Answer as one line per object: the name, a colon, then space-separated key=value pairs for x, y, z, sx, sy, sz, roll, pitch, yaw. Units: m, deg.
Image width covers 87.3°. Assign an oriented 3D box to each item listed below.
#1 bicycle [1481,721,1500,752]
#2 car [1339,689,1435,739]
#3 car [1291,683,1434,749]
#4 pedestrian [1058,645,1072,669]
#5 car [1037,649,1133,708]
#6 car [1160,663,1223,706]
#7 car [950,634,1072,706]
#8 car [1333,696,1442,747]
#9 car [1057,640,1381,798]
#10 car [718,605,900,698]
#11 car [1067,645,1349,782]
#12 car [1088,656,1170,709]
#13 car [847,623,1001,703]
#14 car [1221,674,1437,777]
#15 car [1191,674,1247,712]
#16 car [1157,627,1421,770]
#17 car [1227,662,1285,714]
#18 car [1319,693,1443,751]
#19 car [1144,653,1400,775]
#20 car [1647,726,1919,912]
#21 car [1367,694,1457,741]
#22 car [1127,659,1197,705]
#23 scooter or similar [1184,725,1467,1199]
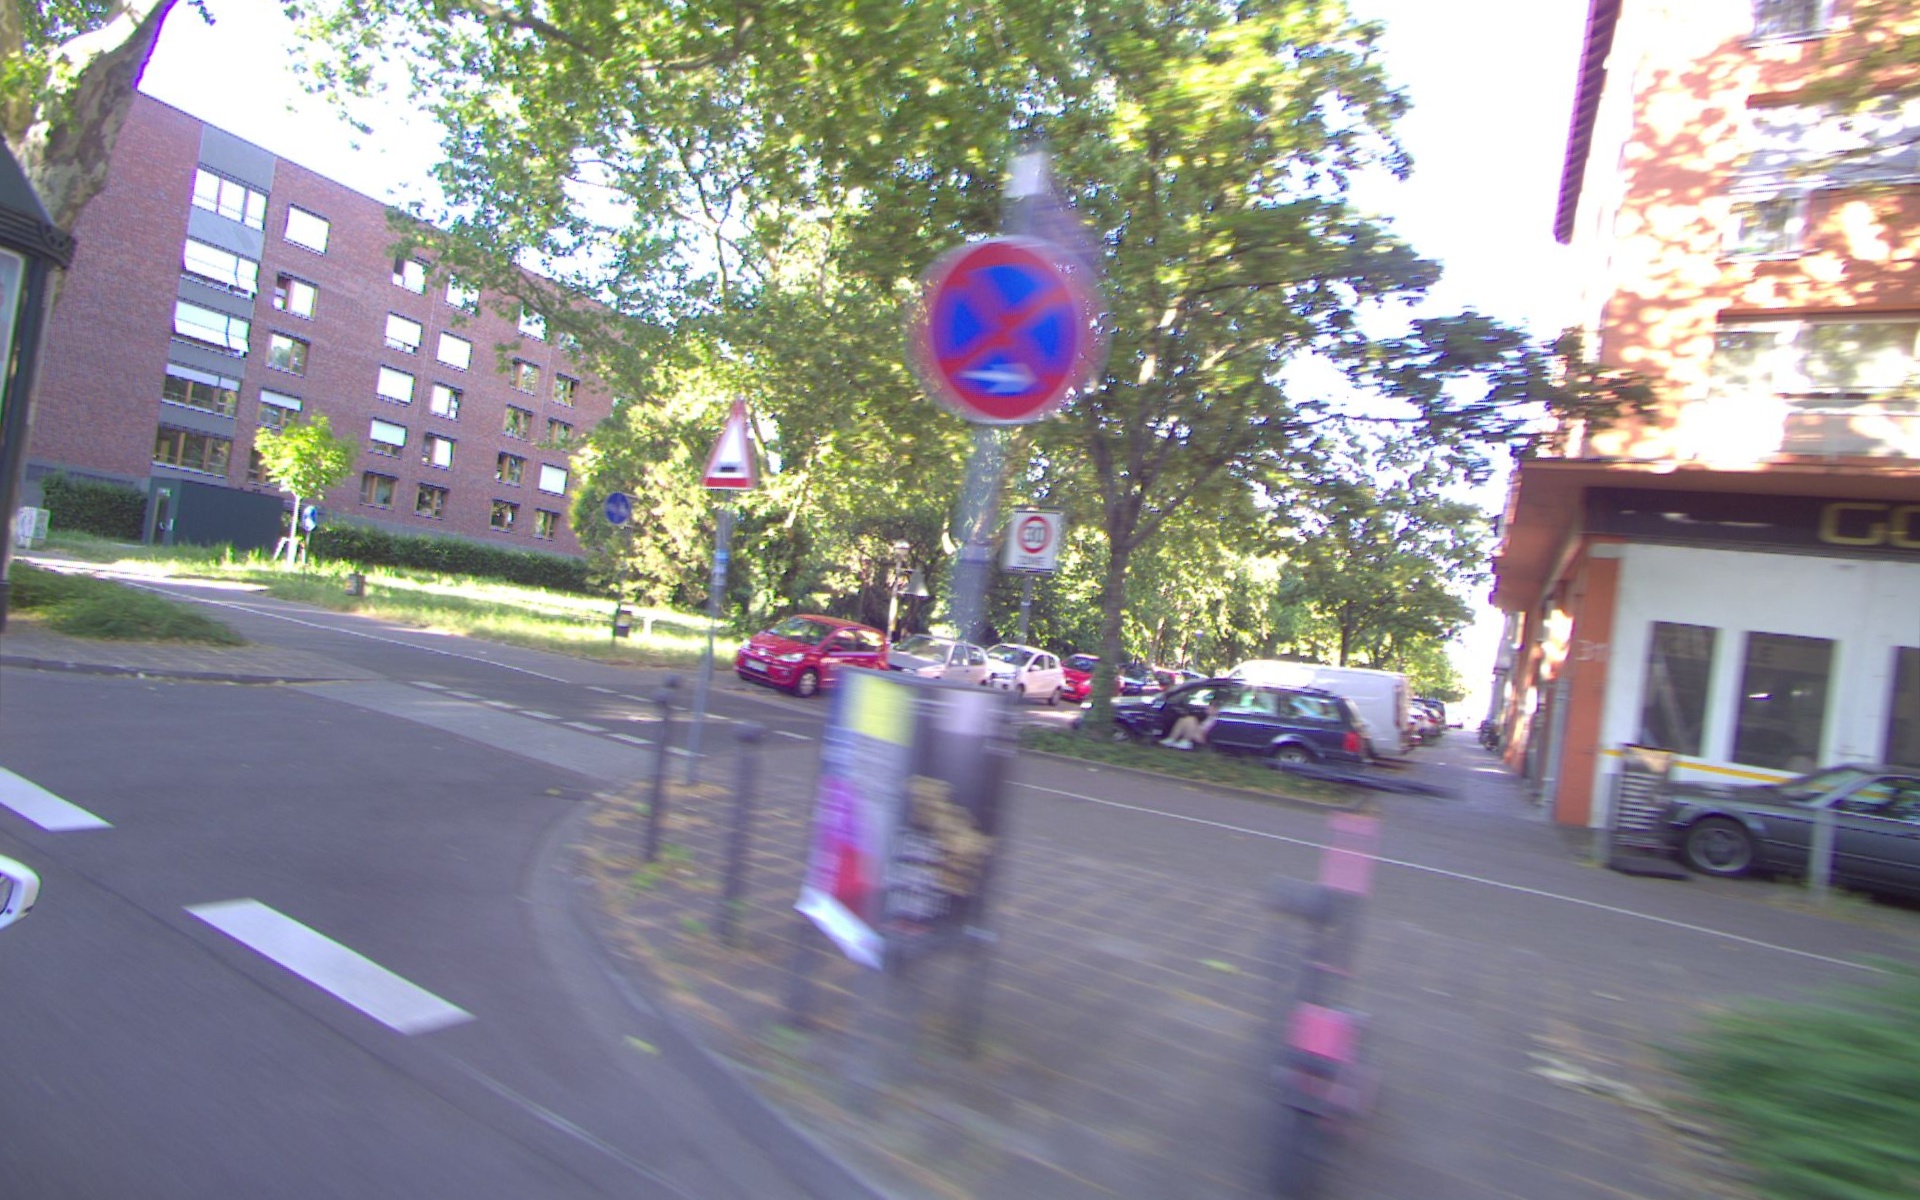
bicycle: x=21.099 y=5.428 z=40.007 sx=0.492 sy=1.120 sz=1.798 roll=7 pitch=-1 yaw=30
car: x=23.084 y=6.115 z=54.387 sx=4.497 sy=1.929 sz=1.794 roll=7 pitch=-1 yaw=27
car: x=14.512 y=4.135 z=36.314 sx=4.497 sy=1.593 sz=1.794 roll=7 pitch=-1 yaw=27
pedestrian: x=7.749 y=4.187 z=74.156 sx=0.639 sy=1.681 sz=0.649 roll=7 pitch=-1 yaw=31
car: x=4.136 y=2.594 z=32.772 sx=1.654 sy=1.599 sz=3.928 roll=7 pitch=-2 yaw=28
car: x=10.537 y=3.859 z=45.659 sx=1.654 sy=1.599 sz=3.928 roll=7 pitch=-2 yaw=28
car: x=1.474 y=1.960 z=27.472 sx=1.654 sy=1.599 sz=3.928 roll=7 pitch=-2 yaw=28
car: x=20.019 y=5.632 z=47.141 sx=4.497 sy=1.593 sz=1.794 roll=7 pitch=-1 yaw=27
car: x=4.010 y=1.765 z=15.690 sx=4.496 sy=1.593 sz=1.795 roll=8 pitch=-1 yaw=25
car: x=-2.909 y=1.075 z=20.050 sx=1.654 sy=1.469 sz=3.547 roll=7 pitch=-2 yaw=28
car: x=4.421 y=1.954 z=18.012 sx=4.496 sy=1.593 sz=1.795 roll=8 pitch=-1 yaw=25
car: x=6.290 y=3.072 z=37.084 sx=1.654 sy=1.599 sz=3.928 roll=7 pitch=-2 yaw=28
car: x=-0.735 y=1.508 z=23.290 sx=1.654 sy=1.469 sz=3.928 roll=7 pitch=-2 yaw=28
car: x=8.703 y=2.897 z=23.779 sx=4.497 sy=1.593 sz=1.794 roll=7 pitch=-1 yaw=27
car: x=13.010 y=4.670 z=50.374 sx=1.654 sy=1.599 sz=3.928 roll=7 pitch=-2 yaw=28
car: x=7.101 y=2.062 z=21.865 sx=4.996 sy=2.210 sz=1.917 roll=7 pitch=-1 yaw=28
car: x=17.065 y=5.098 z=57.801 sx=1.942 sy=2.592 sz=5.042 roll=7 pitch=-2 yaw=28
car: x=17.396 y=4.993 z=41.605 sx=4.497 sy=1.593 sz=1.794 roll=7 pitch=-1 yaw=27
car: x=6.188 y=2.196 z=20.035 sx=4.497 sy=1.593 sz=1.794 roll=7 pitch=-1 yaw=27
car: x=10.018 y=2.430 z=10.540 sx=4.393 sy=1.451 sz=1.752 roll=7 pitch=-1 yaw=31
car: x=26.112 y=6.746 z=58.174 sx=4.497 sy=1.929 sz=1.794 roll=7 pitch=-1 yaw=27
car: x=8.441 y=3.440 z=41.778 sx=1.654 sy=1.599 sz=3.928 roll=7 pitch=-2 yaw=28
scooter or similar: x=1.241 y=1.081 z=3.261 sx=0.560 sy=1.254 sz=1.211 roll=7 pitch=-1 yaw=28
